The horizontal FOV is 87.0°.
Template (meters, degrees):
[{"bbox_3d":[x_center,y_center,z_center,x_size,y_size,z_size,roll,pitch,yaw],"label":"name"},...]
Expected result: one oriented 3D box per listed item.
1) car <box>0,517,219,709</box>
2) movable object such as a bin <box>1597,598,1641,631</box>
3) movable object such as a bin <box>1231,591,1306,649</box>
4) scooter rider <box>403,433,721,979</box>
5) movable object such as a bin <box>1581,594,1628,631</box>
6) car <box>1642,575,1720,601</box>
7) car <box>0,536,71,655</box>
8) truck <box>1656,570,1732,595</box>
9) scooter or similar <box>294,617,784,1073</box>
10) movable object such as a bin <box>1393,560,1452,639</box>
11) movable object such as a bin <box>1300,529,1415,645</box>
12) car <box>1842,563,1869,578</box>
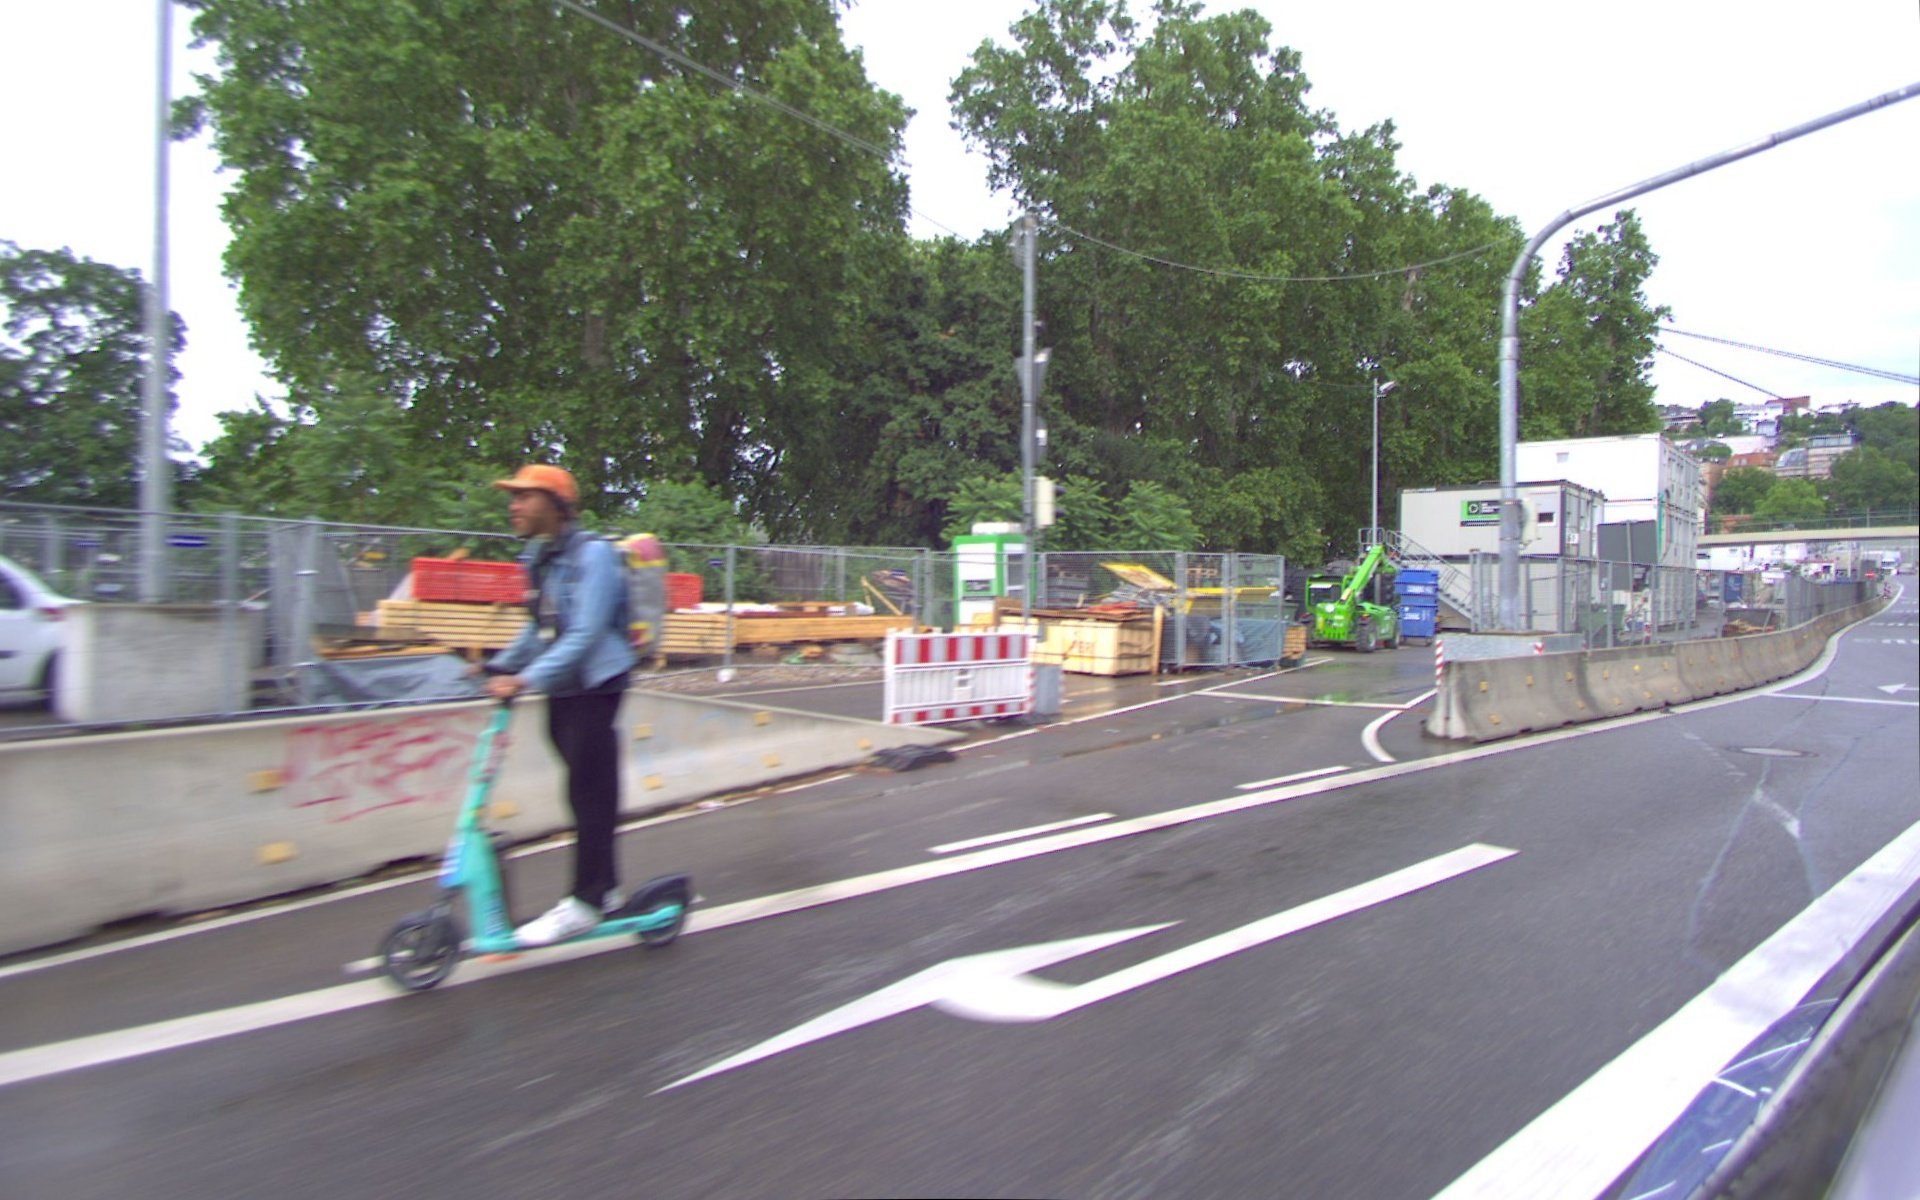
[{"bbox_3d":[-10.331,0.108,9.663,1.846,1.829,5.006,0,0,43],"label":"car"},{"bbox_3d":[26.201,0.571,40.241,1.247,1.136,1.220,4,5,43],"label":"movable object such as a bin"},{"bbox_3d":[7.439,0.465,24.424,1.239,1.361,1.182,1,0,-27],"label":"movable object such as a bin"},{"bbox_3d":[-1.515,0.340,3.908,0.597,1.808,0.981,0,1,45],"label":"scooter rider"},{"bbox_3d":[24.073,0.457,37.780,1.247,1.251,1.220,4,5,43],"label":"movable object such as a bin"},{"bbox_3d":[51.895,-0.874,72.888,4.492,1.749,1.972,1,2,40],"label":"car"},{"bbox_3d":[-14.324,-0.018,13.143,1.758,1.577,3.944,3,5,40],"label":"car"},{"bbox_3d":[62.581,-1.528,86.309,5.144,2.038,2.377,1,4,39],"label":"truck"},{"bbox_3d":[-1.530,0.765,3.902,0.597,1.335,1.641,0,1,44],"label":"scooter or similar"},{"bbox_3d":[13.457,-0.019,29.509,1.443,2.231,1.256,1,0,21],"label":"movable object such as a bin"},{"bbox_3d":[10.557,-0.318,26.739,1.803,2.845,3.812,0,0,38],"label":"movable object such as a bin"},{"bbox_3d":[100.549,-3.341,113.604,4.339,1.459,1.835,-4,2,-42],"label":"car"}]
